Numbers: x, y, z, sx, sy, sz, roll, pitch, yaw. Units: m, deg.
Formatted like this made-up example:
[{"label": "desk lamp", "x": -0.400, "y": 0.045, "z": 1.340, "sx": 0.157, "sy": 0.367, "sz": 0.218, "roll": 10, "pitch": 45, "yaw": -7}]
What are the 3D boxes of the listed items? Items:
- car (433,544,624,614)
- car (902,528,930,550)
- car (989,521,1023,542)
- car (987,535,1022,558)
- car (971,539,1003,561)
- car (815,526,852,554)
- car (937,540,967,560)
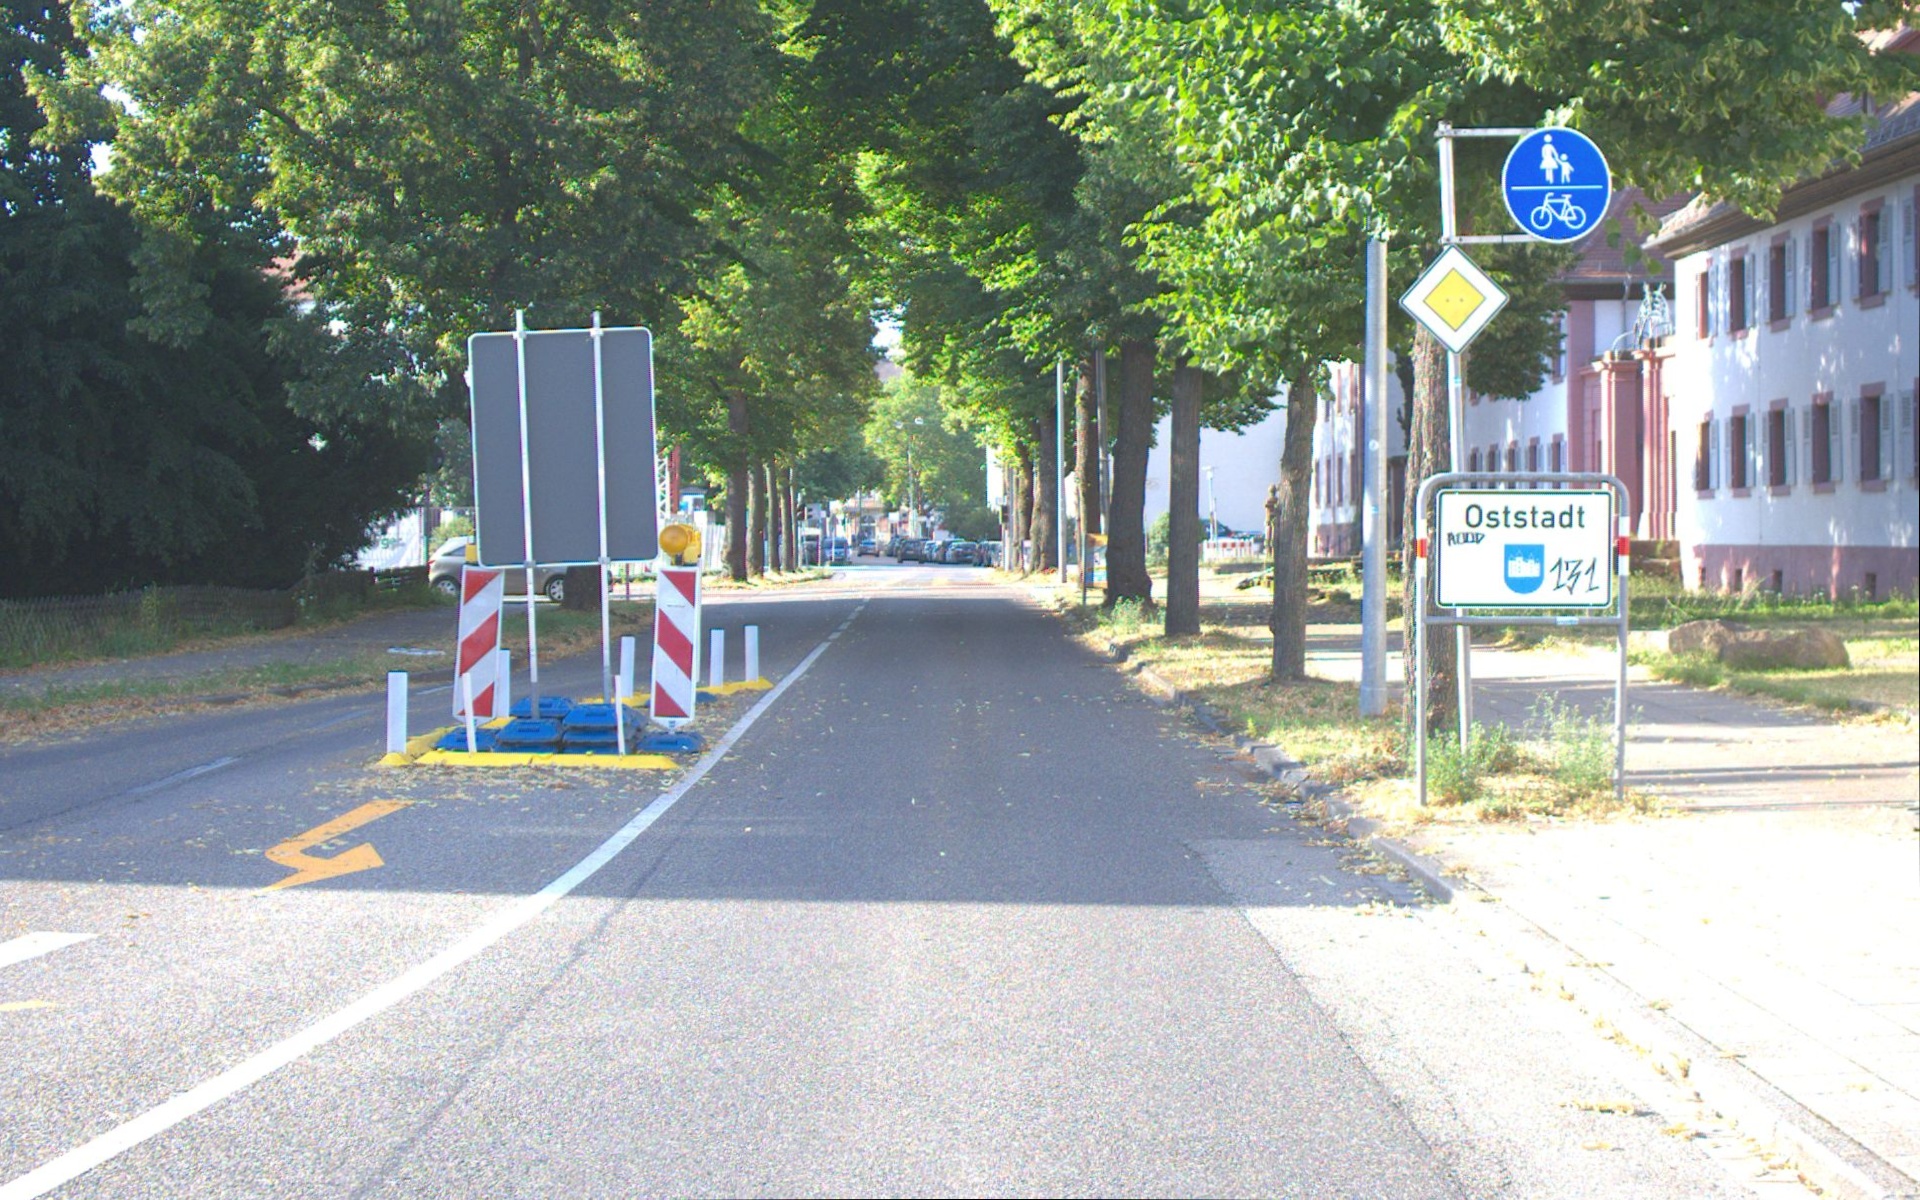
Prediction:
[{"label": "car", "x": -9.247, "y": -0.463, "z": 73.799, "sx": 3.844, "sy": 1.468, "sz": 1.651, "roll": 0, "pitch": 1, "yaw": 2}, {"label": "car", "x": -3.029, "y": -4.193, "z": 237.304, "sx": 1.714, "sy": 1.481, "sz": 4.001, "roll": -1, "pitch": 1, "yaw": -4}, {"label": "car", "x": 2.724, "y": -4.036, "z": 202.090, "sx": 1.841, "sy": 1.256, "sz": 4.000, "roll": 0, "pitch": 1, "yaw": 3}, {"label": "car", "x": 2.470, "y": -2.981, "z": 191.608, "sx": 1.841, "sy": 1.256, "sz": 4.000, "roll": -1, "pitch": 1, "yaw": -1}, {"label": "car", "x": 1.659, "y": -3.040, "z": 209.008, "sx": 1.841, "sy": 1.256, "sz": 4.000, "roll": -1, "pitch": 1, "yaw": -1}, {"label": "car", "x": -7.891, "y": -3.723, "z": 214.079, "sx": 1.993, "sy": 1.682, "sz": 4.001, "roll": -1, "pitch": 0, "yaw": -6}, {"label": "car", "x": -0.554, "y": -3.470, "z": 238.058, "sx": 1.841, "sy": 1.381, "sz": 4.001, "roll": -1, "pitch": 1, "yaw": -4}]
